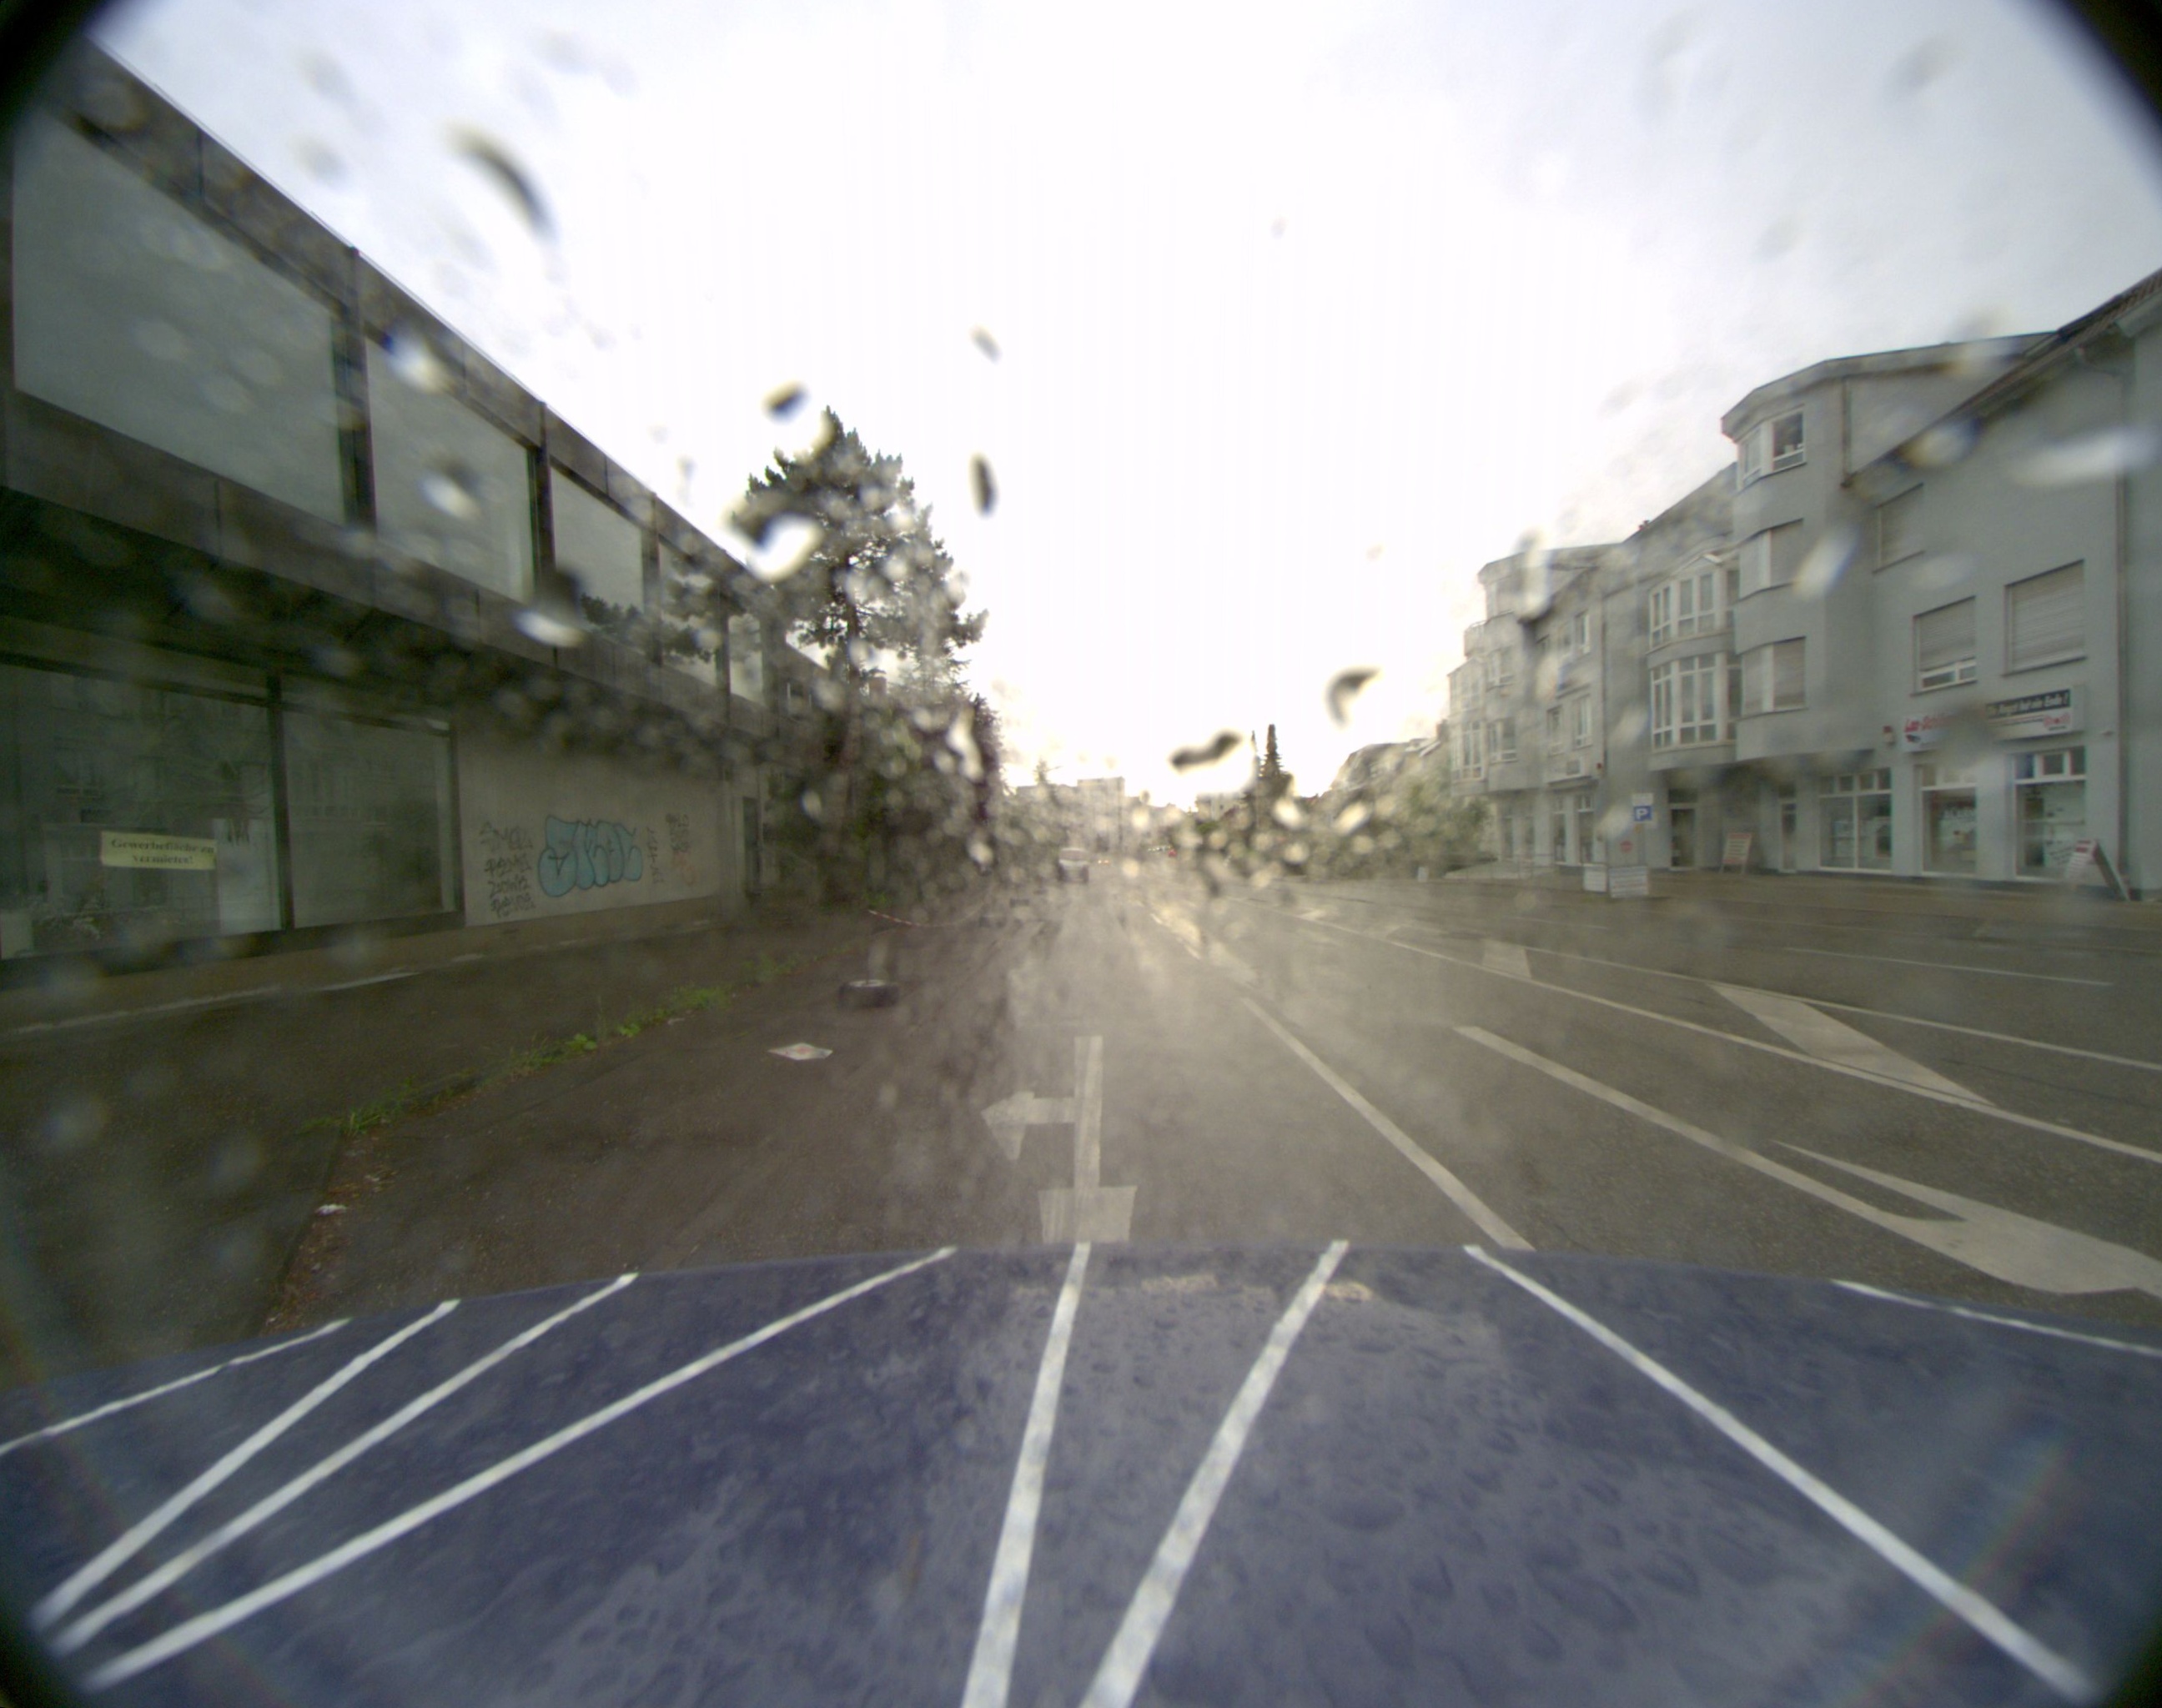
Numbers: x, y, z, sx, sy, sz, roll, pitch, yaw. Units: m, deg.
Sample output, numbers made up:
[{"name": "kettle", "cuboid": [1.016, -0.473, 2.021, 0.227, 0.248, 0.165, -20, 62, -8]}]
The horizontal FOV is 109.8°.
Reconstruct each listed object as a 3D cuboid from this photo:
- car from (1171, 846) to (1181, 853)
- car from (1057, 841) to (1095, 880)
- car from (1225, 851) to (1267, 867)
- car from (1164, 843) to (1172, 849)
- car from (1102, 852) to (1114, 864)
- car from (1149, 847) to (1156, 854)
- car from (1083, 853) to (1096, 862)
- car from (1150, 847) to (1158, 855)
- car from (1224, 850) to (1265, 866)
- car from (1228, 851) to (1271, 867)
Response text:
[{"name": "car", "cuboid": [22.494, -1.076, 180.639, 1.997, 1.606, 4.003, -1, 0, 11]}, {"name": "car", "cuboid": [-0.257, 0.422, 51.658, 2.397, 2.417, 6.433, -1, 0, 1]}, {"name": "car", "cuboid": [17.408, 0.535, 80.198, 4.155, 1.434, 1.891, -3, 0, 8]}, {"name": "car", "cuboid": [24.521, -2.221, 214.526, 1.850, 1.753, 4.124, -1, 0, 11]}, {"name": "car", "cuboid": [4.338, 0.694, 121.346, 1.835, 1.783, 3.837, -3, 0, 2]}, {"name": "car", "cuboid": [18.013, -0.965, 191.221, 1.851, 1.753, 4.123, -1, 0, 6]}, {"name": "car", "cuboid": [1.493, 0.573, 133.952, 1.912, 1.622, 3.703, -1, 0, 5]}, {"name": "car", "cuboid": [17.720, -0.699, 184.143, 1.851, 1.870, 4.122, -1, 0, 5]}, {"name": "car", "cuboid": [17.821, 0.458, 82.908, 4.114, 1.536, 2.001, -3, 0, 6]}, {"name": "car", "cuboid": [17.171, 0.525, 77.714, 4.034, 1.434, 1.813, -3, 0, 6]}]
